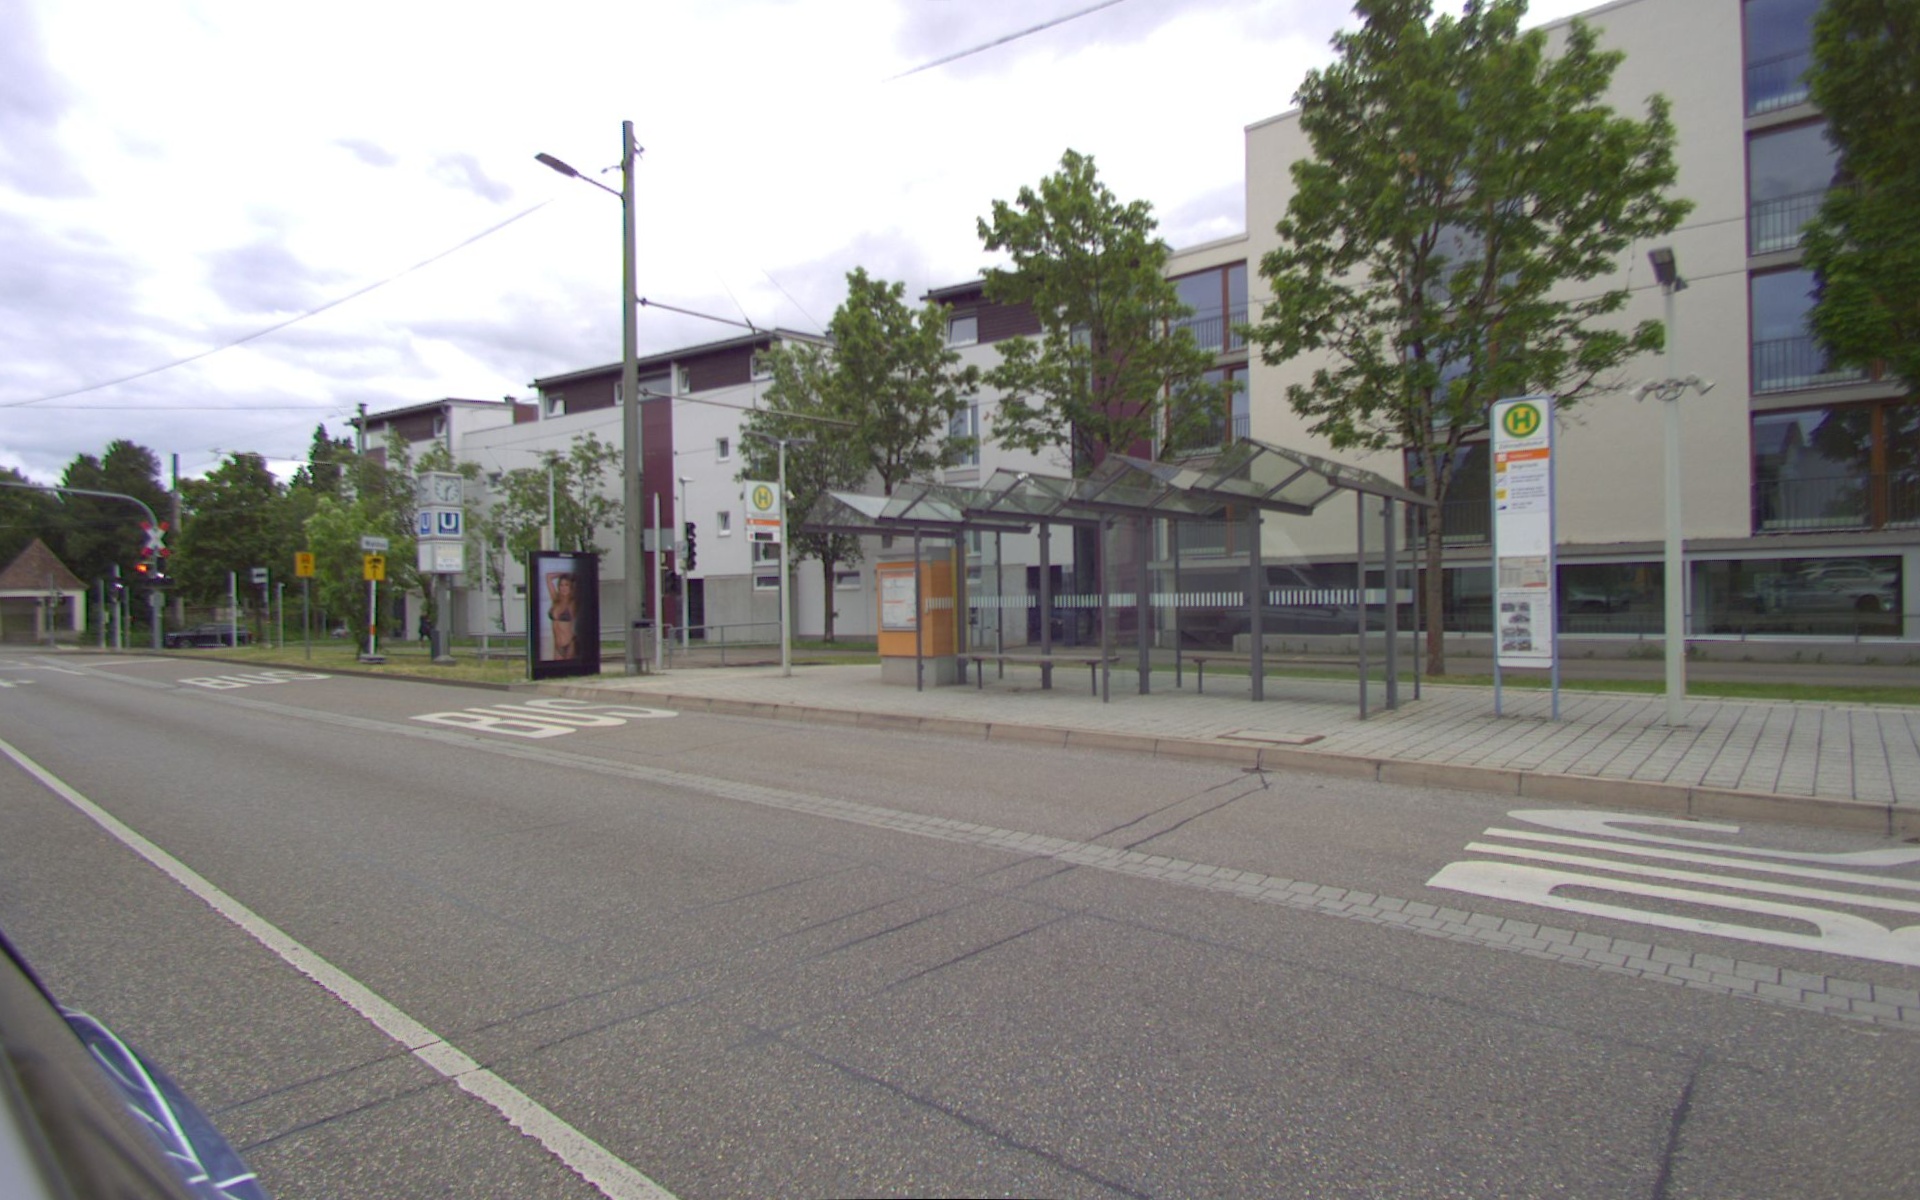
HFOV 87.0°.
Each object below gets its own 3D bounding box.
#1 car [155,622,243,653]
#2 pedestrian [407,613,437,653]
[{"bbox_3d":[-46.465,2.265,61.851,1.925,1.719,3.950,-1,0,37],"label":"car"},{"bbox_3d":[-21.827,1.324,41.055,0.778,1.607,0.773,-1,0,32],"label":"pedestrian"}]
